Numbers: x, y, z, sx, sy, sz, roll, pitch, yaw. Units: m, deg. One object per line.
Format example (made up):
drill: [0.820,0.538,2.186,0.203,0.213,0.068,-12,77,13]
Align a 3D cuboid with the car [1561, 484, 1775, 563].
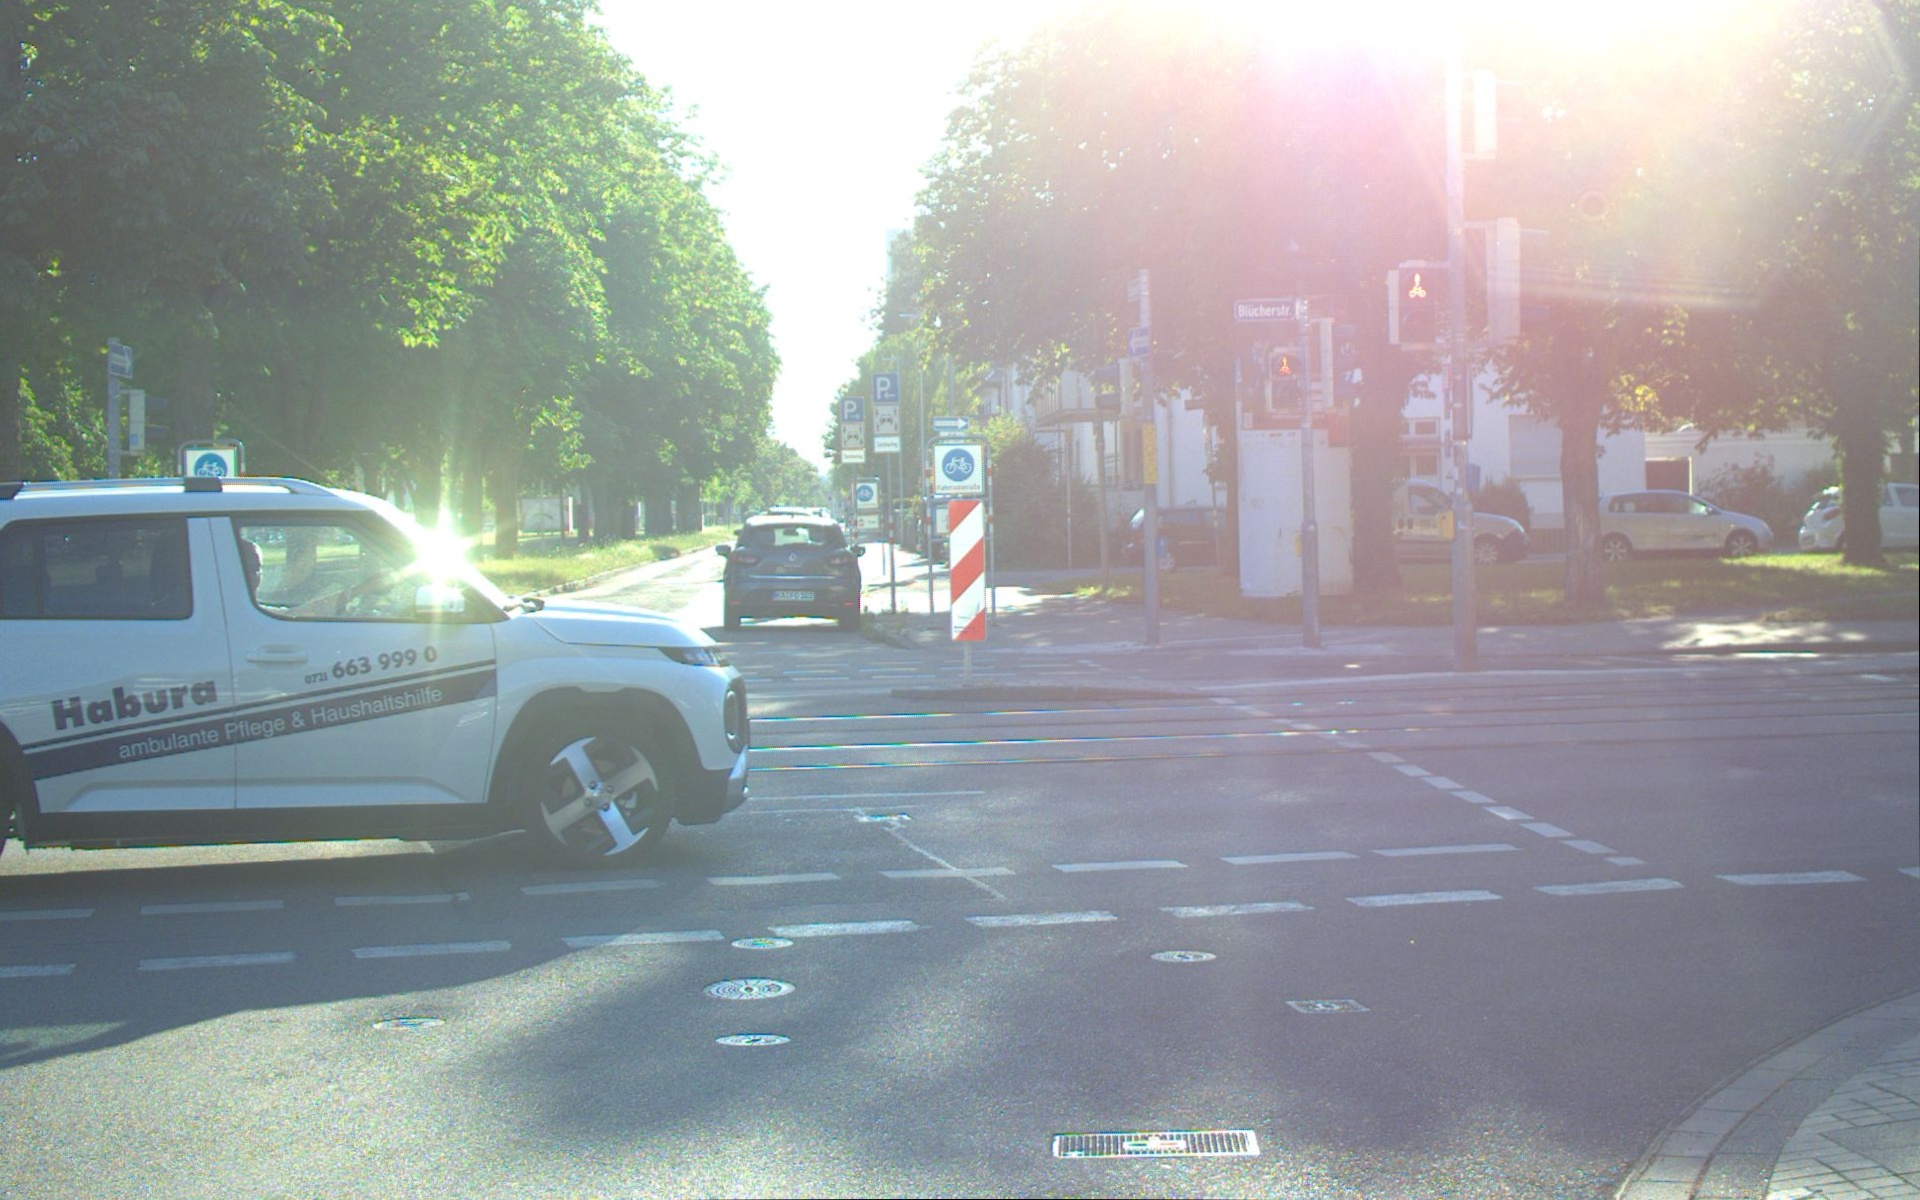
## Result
car: [13.420,-1.458,65.238,3.662,1.422,1.532,-1,1,-6]

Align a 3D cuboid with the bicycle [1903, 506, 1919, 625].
bicycle: [10.074,-0.354,32.838,1.954,1.128,0.620,-1,1,1]

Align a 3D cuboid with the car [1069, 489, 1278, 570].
car: [4.009,-1.345,64.969,3.779,1.422,1.744,-1,3,-2]

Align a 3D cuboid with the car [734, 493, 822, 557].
car: [-4.079,-1.708,77.506,1.845,1.389,3.829,0,2,-1]

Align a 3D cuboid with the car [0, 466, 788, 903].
car: [-2.778,0.290,13.987,3.863,1.546,1.613,-2,3,-15]

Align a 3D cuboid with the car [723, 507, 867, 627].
car: [-2.074,-0.451,43.868,1.641,1.446,3.307,-1,2,0]

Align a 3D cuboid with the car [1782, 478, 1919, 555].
car: [17.921,-1.628,66.009,3.844,1.422,1.598,-1,1,-6]

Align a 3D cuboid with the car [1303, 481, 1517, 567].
car: [8.516,-1.447,65.294,3.779,1.520,1.744,-1,3,-2]
